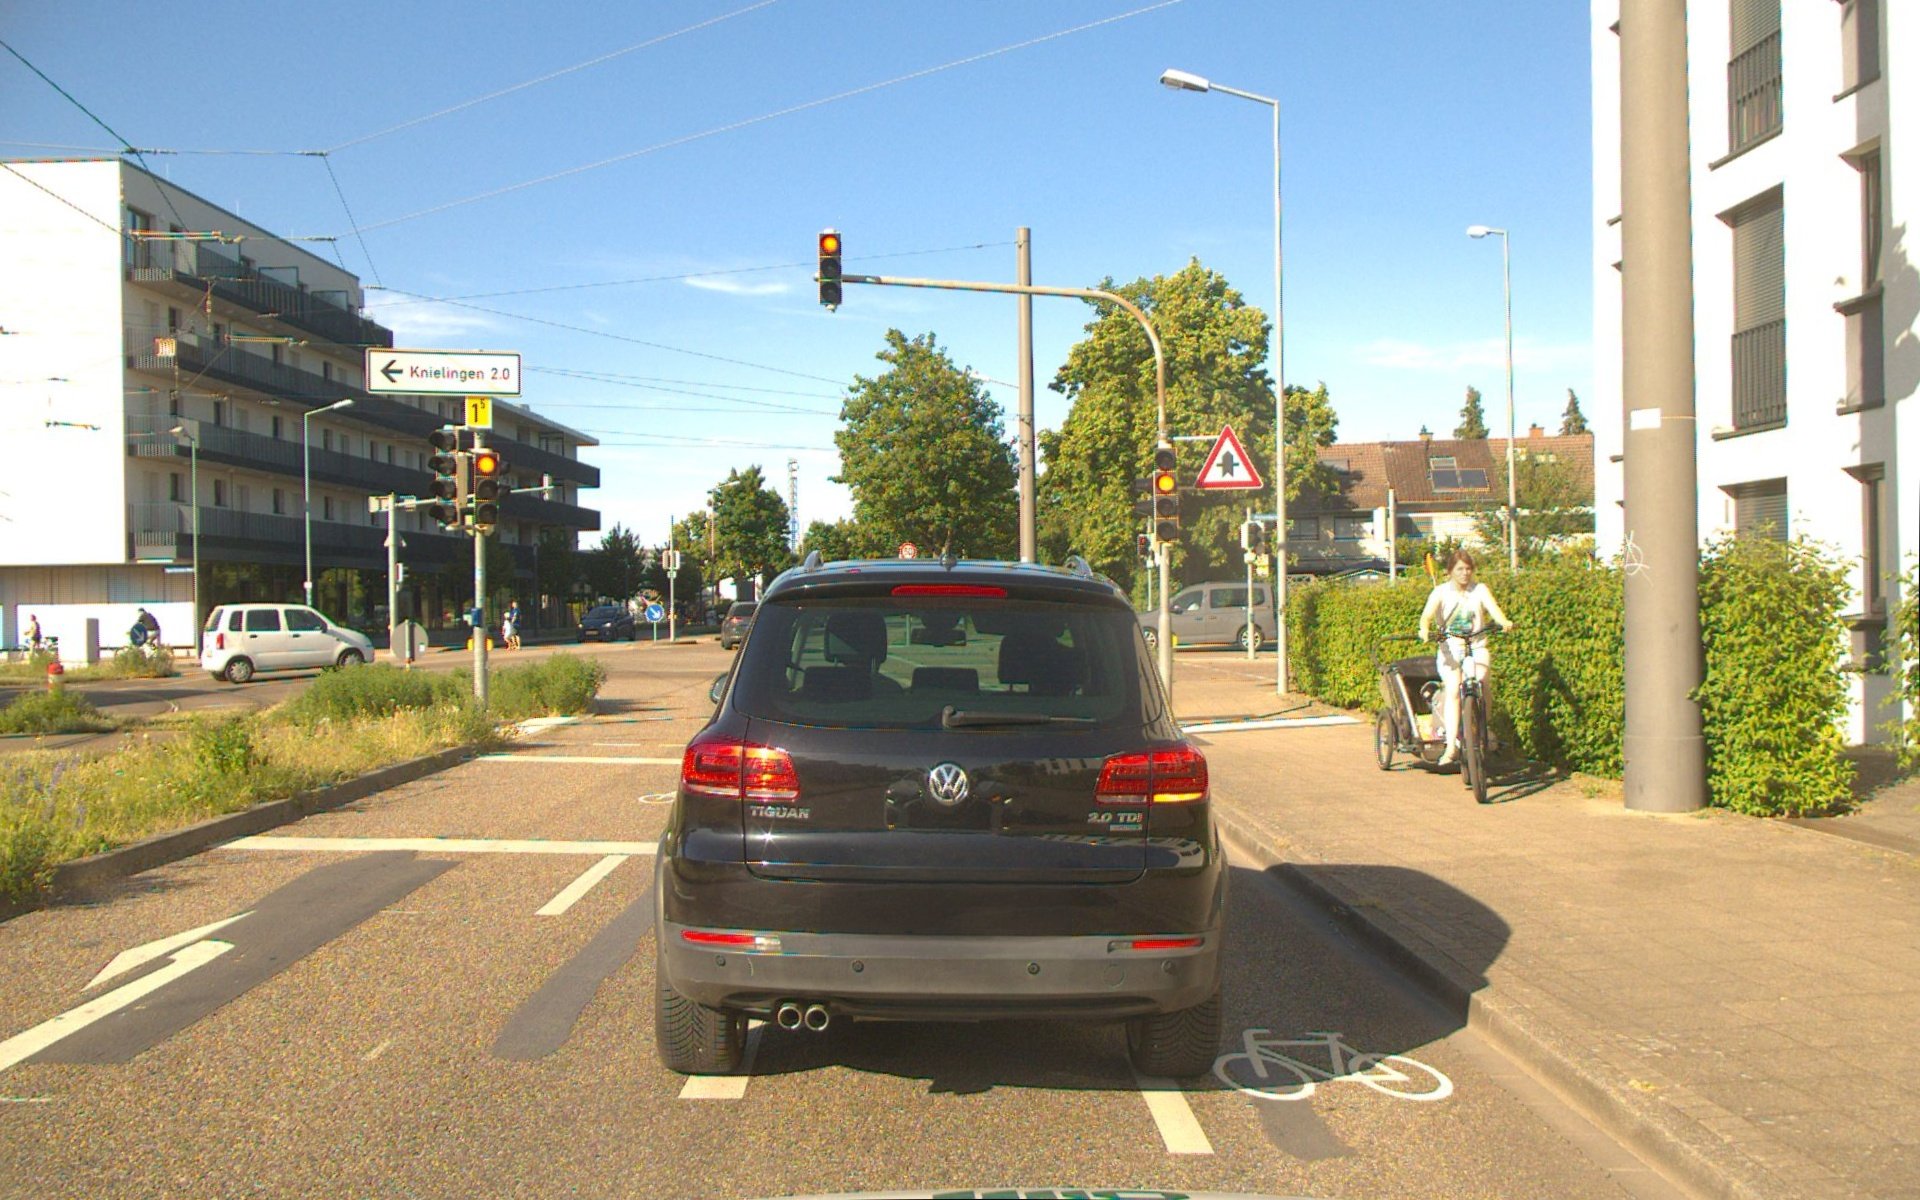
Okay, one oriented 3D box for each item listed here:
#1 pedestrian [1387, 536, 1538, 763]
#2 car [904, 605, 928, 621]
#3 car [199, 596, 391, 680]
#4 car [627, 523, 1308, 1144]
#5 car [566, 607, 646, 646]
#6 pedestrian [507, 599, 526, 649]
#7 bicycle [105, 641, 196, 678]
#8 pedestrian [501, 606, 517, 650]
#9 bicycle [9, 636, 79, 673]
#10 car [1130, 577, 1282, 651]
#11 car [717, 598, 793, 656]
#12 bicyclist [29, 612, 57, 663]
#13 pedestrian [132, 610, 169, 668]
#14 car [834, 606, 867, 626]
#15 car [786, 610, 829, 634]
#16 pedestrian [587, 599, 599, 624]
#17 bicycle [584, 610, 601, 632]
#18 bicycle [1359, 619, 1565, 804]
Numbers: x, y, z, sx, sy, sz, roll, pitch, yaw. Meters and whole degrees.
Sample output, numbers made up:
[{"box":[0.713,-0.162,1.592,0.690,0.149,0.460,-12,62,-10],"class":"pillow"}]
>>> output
[{"box":[3.739,0.360,12.373,0.891,1.622,0.855,-1,0,5],"class":"pedestrian"},{"box":[-4.575,1.323,173.328,1.951,1.601,4.342,1,0,7],"class":"car"},{"box":[-14.753,0.795,36.724,3.646,1.750,1.846,-1,0,-36],"class":"car"},{"box":[-0.004,0.648,6.506,1.831,1.666,3.999,1,0,-1],"class":"car"},{"box":[-15.309,1.127,71.723,1.951,1.601,4.343,1,0,9],"class":"car"},{"box":[-15.924,0.874,59.379,0.532,1.774,0.517,1,-1,-6],"class":"pedestrian"},{"box":[-24.468,1.801,49.998,2.363,1.020,0.640,-1,0,-6],"class":"bicycle"},{"box":[-16.035,0.994,58.803,0.433,1.529,0.517,1,-1,-6],"class":"pedestrian"},{"box":[-29.487,1.744,53.289,1.827,1.144,0.818,1,0,-19],"class":"bicycle"},{"box":[6.530,0.359,44.276,3.902,1.869,2.001,1,0,6],"class":"car"},{"box":[-6.425,0.820,52.187,1.953,1.713,3.999,1,0,-2],"class":"car"},{"box":[-29.539,1.201,53.282,0.629,1.642,0.781,1,-1,-19],"class":"bicyclist"},{"box":[-24.473,1.167,49.995,0.797,1.721,0.620,-1,0,-7],"class":"pedestrian"},{"box":[-8.923,1.275,135.400,1.951,1.601,4.342,1,0,7],"class":"car"},{"box":[-10.266,1.474,111.675,1.951,1.601,4.342,1,0,7],"class":"car"},{"box":[-23.013,0.698,103.770,0.629,1.535,0.596,1,-1,-1],"class":"pedestrian"},{"box":[-23.026,1.335,103.742,0.617,1.355,1.912,1,0,0],"class":"bicycle"},{"box":[3.783,0.777,12.785,0.909,1.194,3.127,-1,0,6],"class":"bicycle"}]
